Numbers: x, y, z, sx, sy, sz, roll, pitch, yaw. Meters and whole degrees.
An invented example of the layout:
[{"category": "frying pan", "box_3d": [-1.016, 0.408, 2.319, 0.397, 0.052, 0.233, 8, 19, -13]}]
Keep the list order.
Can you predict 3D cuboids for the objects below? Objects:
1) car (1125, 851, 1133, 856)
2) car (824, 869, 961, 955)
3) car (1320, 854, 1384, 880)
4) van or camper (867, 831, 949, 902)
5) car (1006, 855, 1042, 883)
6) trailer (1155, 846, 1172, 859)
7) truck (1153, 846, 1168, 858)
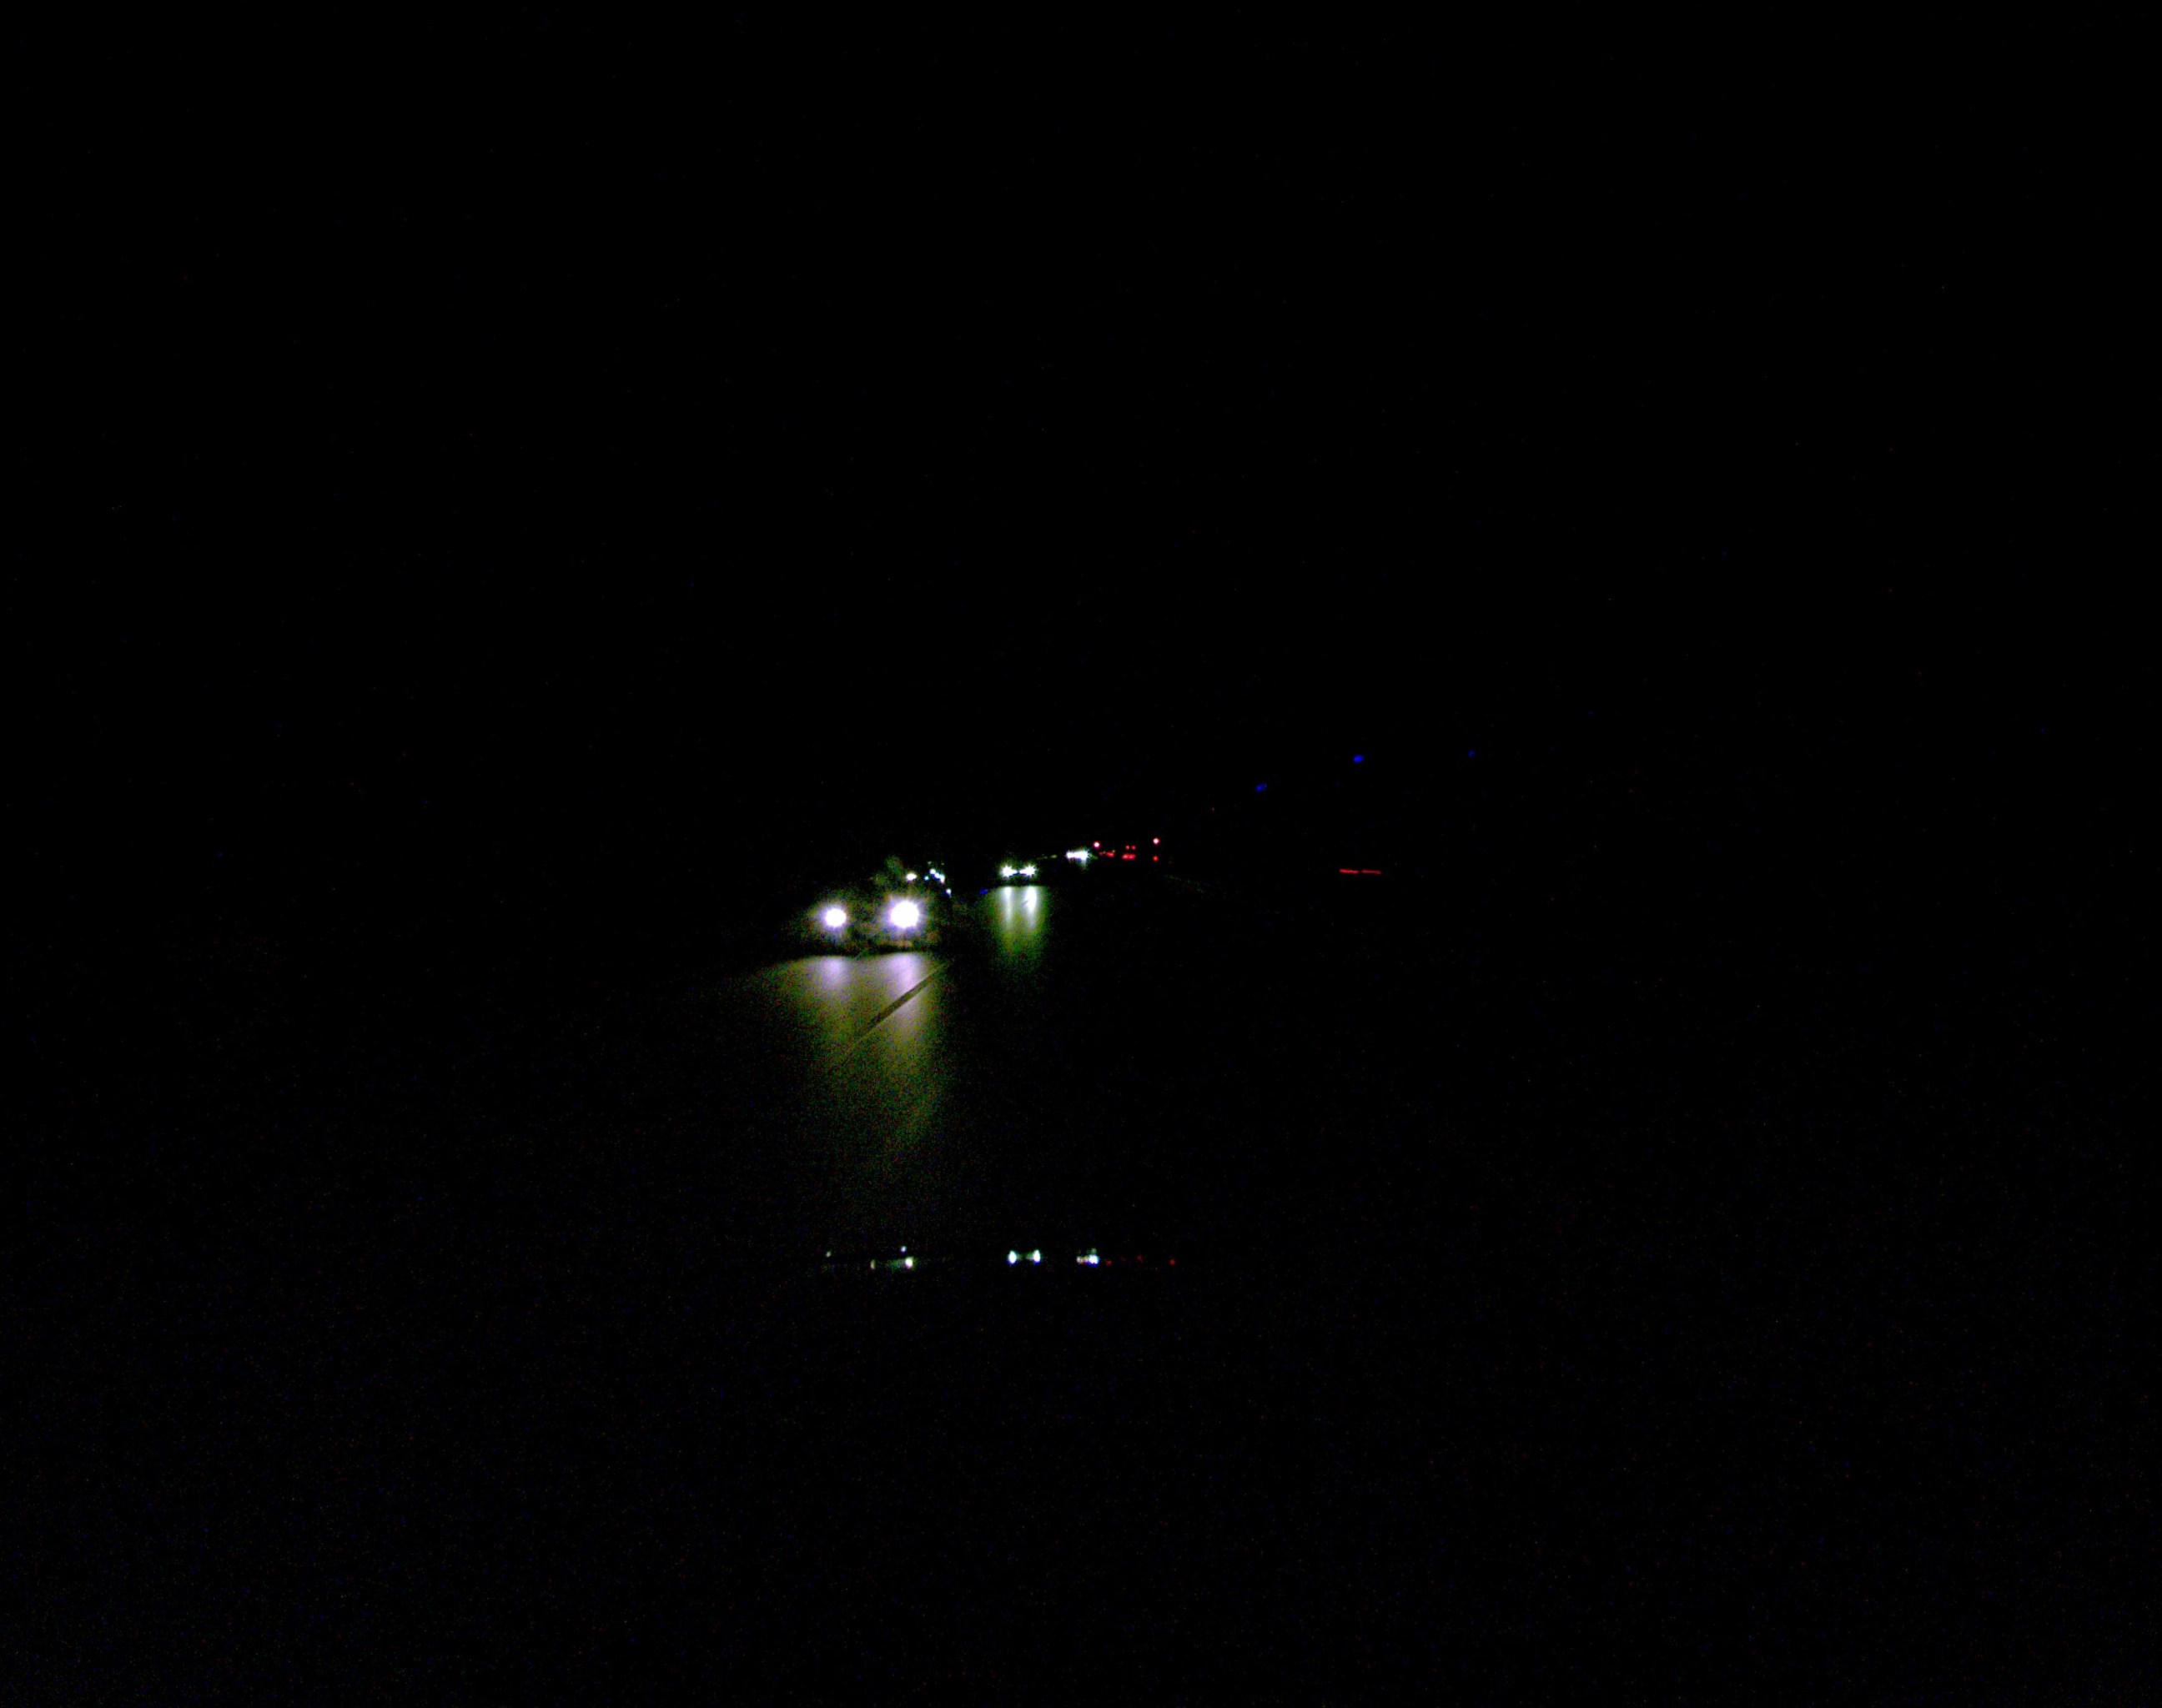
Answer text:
[{"category": "car", "box_3d": [13.966, -0.246, 219.727, 1.999, 1.386, 5.705, 1, 0, 0]}, {"category": "car", "box_3d": [-3.672, 1.066, 15.553, 1.690, 1.405, 4.225, -1, 0, 0]}, {"category": "car", "box_3d": [16.573, 0.749, 46.750, 1.999, 1.495, 5.200, 1, 0, 0]}, {"category": "van or camper", "box_3d": [-7.464, 0.499, 33.616, 2.213, 2.755, 6.802, -2, 0, -2]}, {"category": "car", "box_3d": [-3.462, 0.895, 46.808, 1.795, 1.532, 4.225, -2, 0, 0]}, {"category": "trailer", "box_3d": [13.202, -0.237, 121.947, 1.998, 1.928, 6.622, 0, 0, 1]}, {"category": "truck", "box_3d": [13.308, -0.304, 127.815, 1.998, 1.931, 5.240, 0, 1, 1]}]
